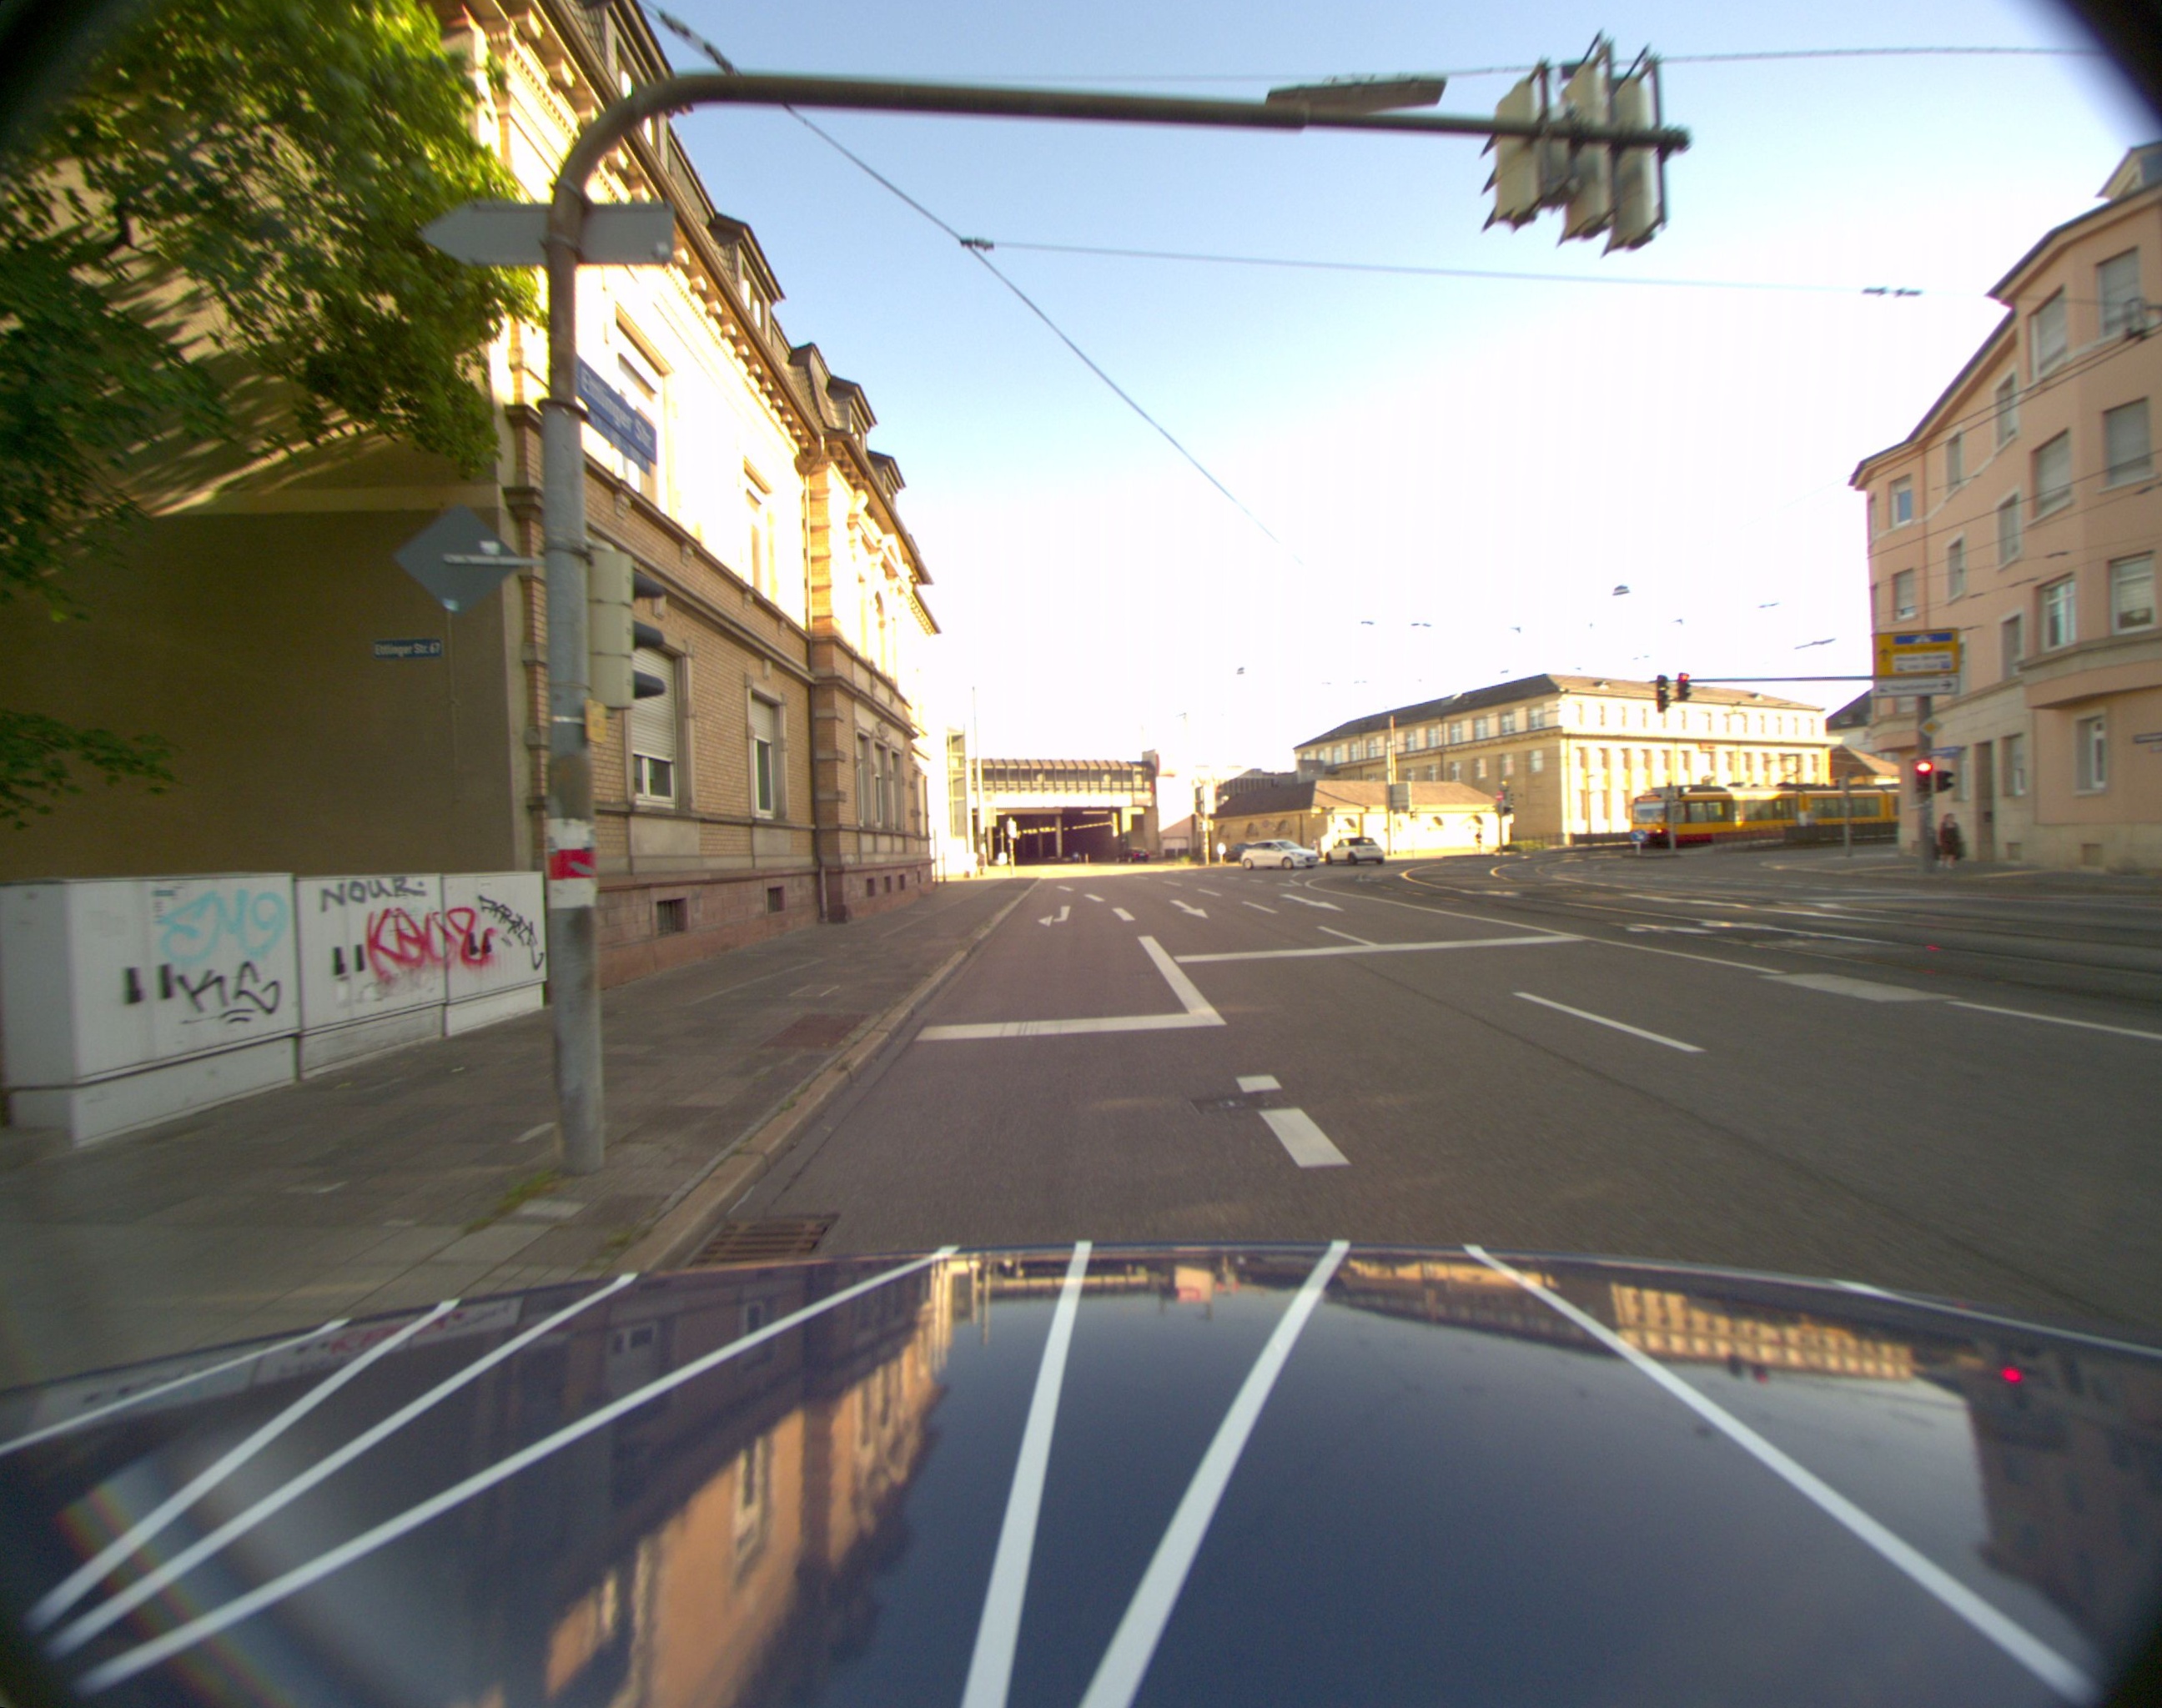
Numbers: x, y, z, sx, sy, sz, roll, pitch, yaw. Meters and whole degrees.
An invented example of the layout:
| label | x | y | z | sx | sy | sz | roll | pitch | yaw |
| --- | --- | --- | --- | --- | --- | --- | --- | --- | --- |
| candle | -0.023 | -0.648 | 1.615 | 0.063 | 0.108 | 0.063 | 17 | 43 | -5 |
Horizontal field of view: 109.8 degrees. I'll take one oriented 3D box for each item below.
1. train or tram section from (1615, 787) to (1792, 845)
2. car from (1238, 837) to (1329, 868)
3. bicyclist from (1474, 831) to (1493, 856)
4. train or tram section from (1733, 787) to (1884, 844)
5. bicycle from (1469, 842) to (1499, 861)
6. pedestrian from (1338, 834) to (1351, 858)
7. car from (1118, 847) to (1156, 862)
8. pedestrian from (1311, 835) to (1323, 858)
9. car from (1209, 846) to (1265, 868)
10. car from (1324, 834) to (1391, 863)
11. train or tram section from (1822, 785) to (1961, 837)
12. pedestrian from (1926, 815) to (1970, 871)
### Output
| label | x | y | z | sx | sy | sz | roll | pitch | yaw |
| --- | --- | --- | --- | --- | --- | --- | --- | --- | --- |
| train or tram section | 38.903 | -2.394 | 47.384 | 11.829 | 3.302 | 3.162 | -2 | 1 | -22 |
| car | 9.914 | -0.047 | 37.437 | 1.795 | 1.386 | 4.094 | -2 | 1 | -37 |
| bicyclist | 27.157 | -0.687 | 51.288 | 0.941 | 1.630 | 0.676 | -3 | 2 | -27 |
| train or tram section | 49.357 | -2.620 | 51.487 | 10.690 | 3.337 | 3.160 | -3 | 1 | -22 |
| bicycle | 27.249 | -0.183 | 51.343 | 2.076 | 1.130 | 0.684 | -4 | 2 | -27 |
| pedestrian | 18.078 | -0.544 | 52.153 | 0.624 | 1.630 | 0.490 | -1 | 2 | 42 |
| car | 5.342 | 0.039 | 73.385 | 2.002 | 1.384 | 4.554 | -2 | 1 | -19 |
| pedestrian | 16.815 | -0.551 | 54.066 | 0.624 | 1.630 | 0.516 | -1 | 2 | 42 |
| car | 11.062 | 0.178 | 54.093 | 1.930 | 1.447 | 4.491 | -2 | 1 | -17 |
| car | 14.060 | -0.295 | 38.894 | 1.732 | 1.367 | 3.531 | -2 | 1 | -8 |
| train or tram section | 59.260 | -3.160 | 55.496 | 10.859 | 3.337 | 3.160 | -3 | 1 | -22 |
| pedestrian | 24.629 | -0.322 | 21.596 | 0.675 | 1.555 | 0.721 | -1 | 1 | 34 |
